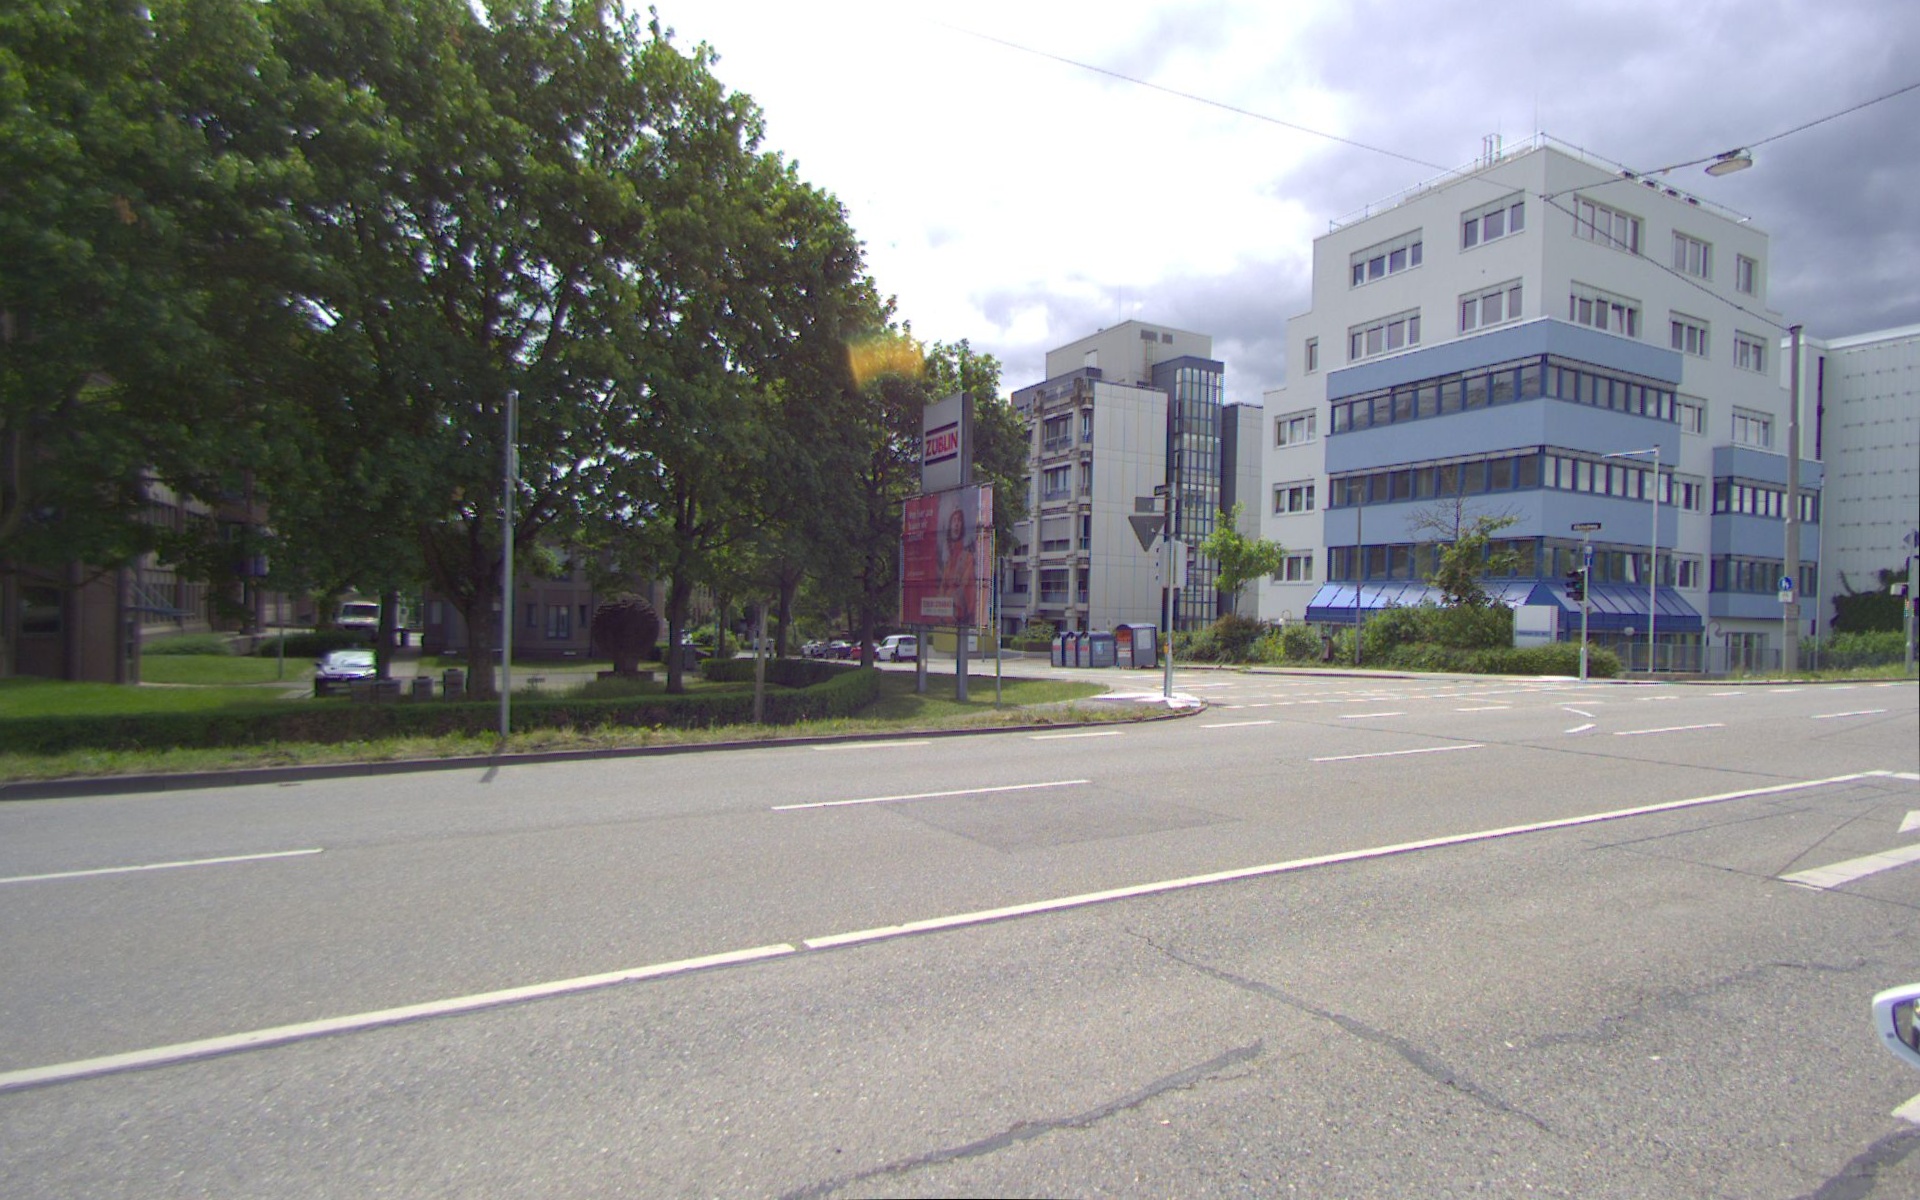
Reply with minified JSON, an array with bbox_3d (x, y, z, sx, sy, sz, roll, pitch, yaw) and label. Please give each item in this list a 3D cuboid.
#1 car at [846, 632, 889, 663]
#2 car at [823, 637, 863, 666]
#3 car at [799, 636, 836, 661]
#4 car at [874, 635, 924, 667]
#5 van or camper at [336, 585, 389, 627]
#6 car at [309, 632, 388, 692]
[{"bbox_3d":[-6.730,3.430,72.717,1.868,2.040,3.974,2,-1,-26],"label":"car"},{"bbox_3d":[-9.049,3.936,77.553,1.848,2.040,3.973,2,-1,-26],"label":"car"},{"bbox_3d":[-11.792,4.012,83.101,1.875,1.919,3.973,2,-1,-26],"label":"car"},{"bbox_3d":[-4.161,3.405,67.746,1.974,2.006,3.974,2,-1,-26],"label":"car"},{"bbox_3d":[-32.792,0.322,55.165,2.332,2.132,5.161,2,-1,-31],"label":"van or camper"},{"bbox_3d":[-19.265,1.914,31.797,1.763,1.750,3.974,2,-3,-27],"label":"car"}]
